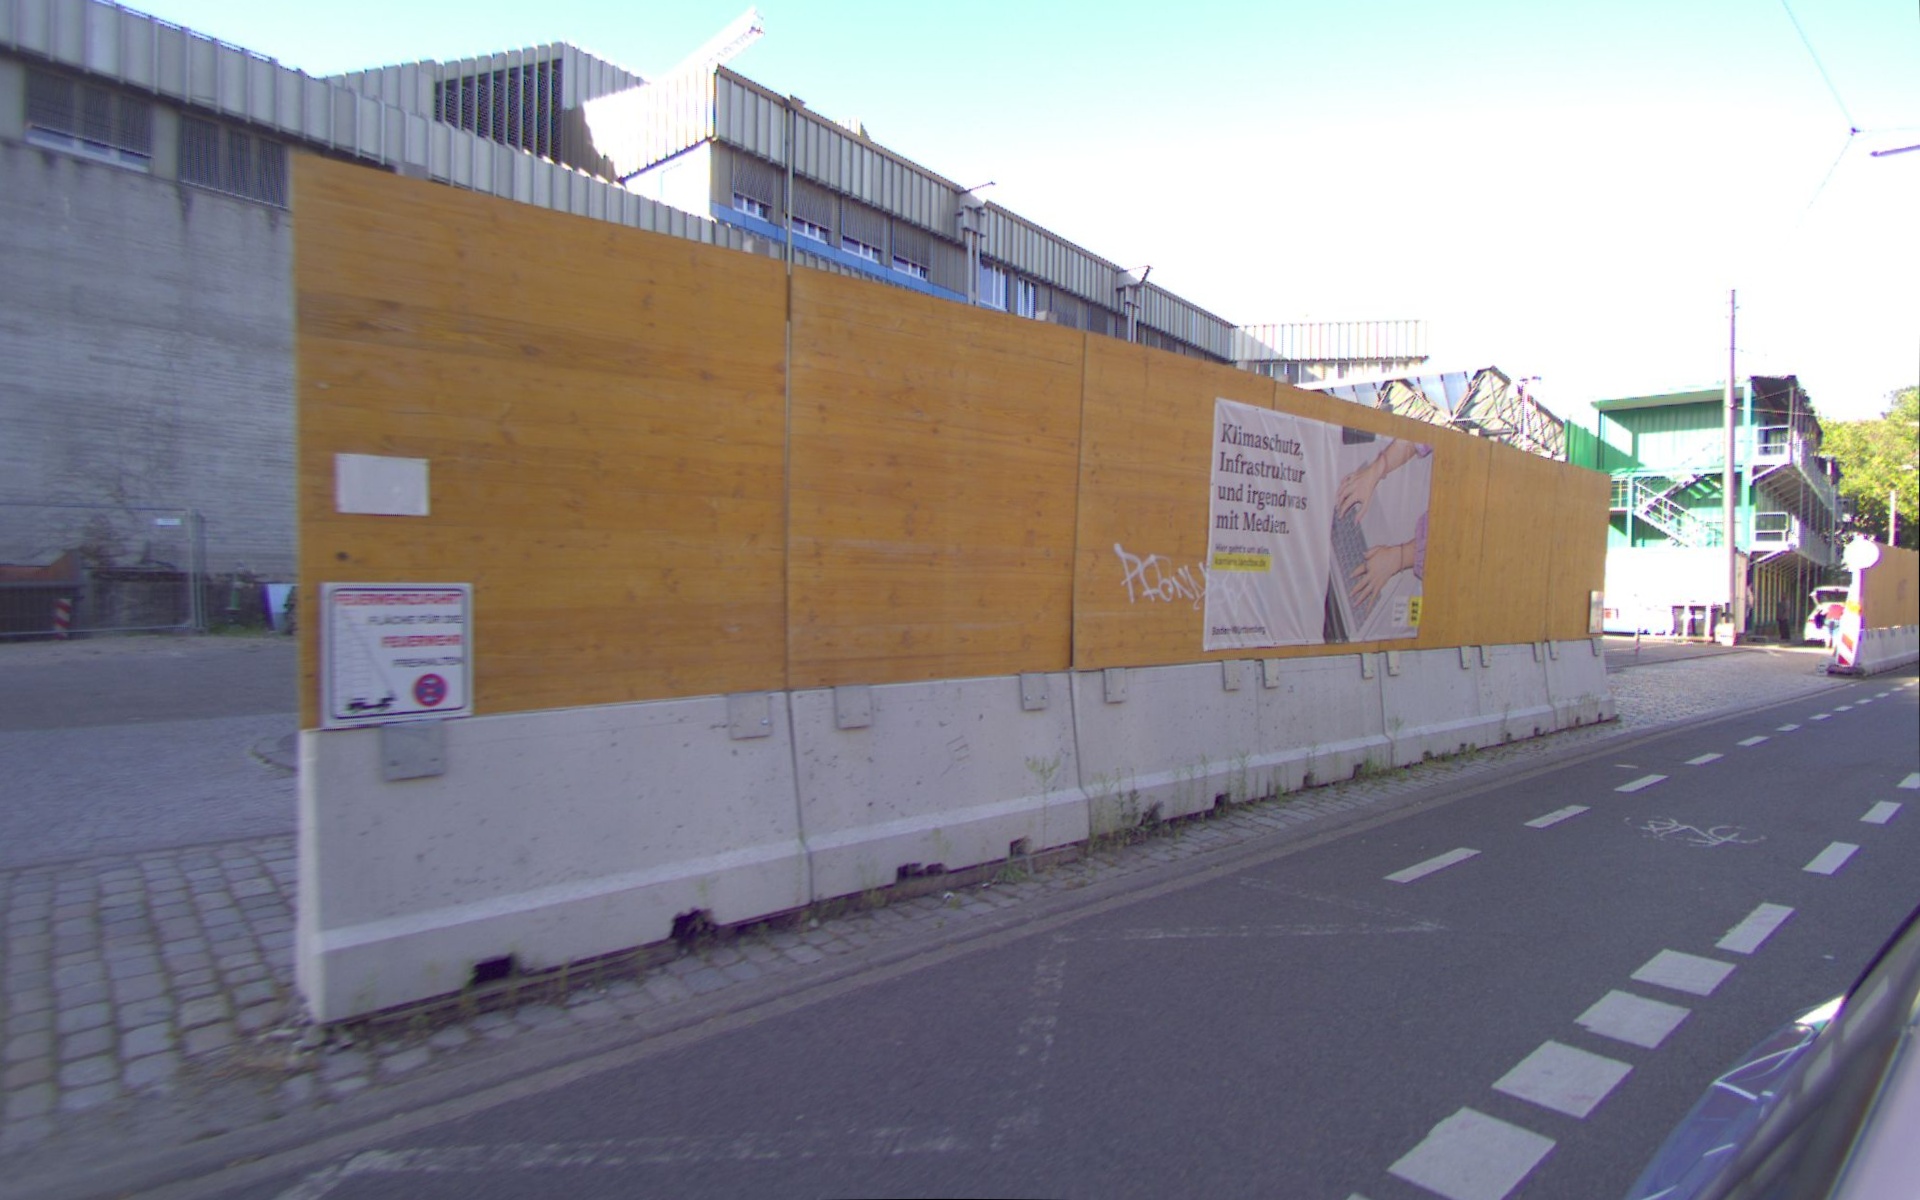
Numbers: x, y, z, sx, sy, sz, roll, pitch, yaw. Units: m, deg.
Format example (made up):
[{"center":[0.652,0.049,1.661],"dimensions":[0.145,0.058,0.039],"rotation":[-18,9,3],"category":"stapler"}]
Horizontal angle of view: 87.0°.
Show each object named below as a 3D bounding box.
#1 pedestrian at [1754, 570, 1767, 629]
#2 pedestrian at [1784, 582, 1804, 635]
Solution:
[{"center":[27.920,-0.020,35.303],"dimensions":[0.306,2.071,0.347],"rotation":[1,1,44],"category":"pedestrian"},{"center":[28.728,0.285,34.874],"dimensions":[0.445,1.780,0.373],"rotation":[1,1,30],"category":"pedestrian"}]
